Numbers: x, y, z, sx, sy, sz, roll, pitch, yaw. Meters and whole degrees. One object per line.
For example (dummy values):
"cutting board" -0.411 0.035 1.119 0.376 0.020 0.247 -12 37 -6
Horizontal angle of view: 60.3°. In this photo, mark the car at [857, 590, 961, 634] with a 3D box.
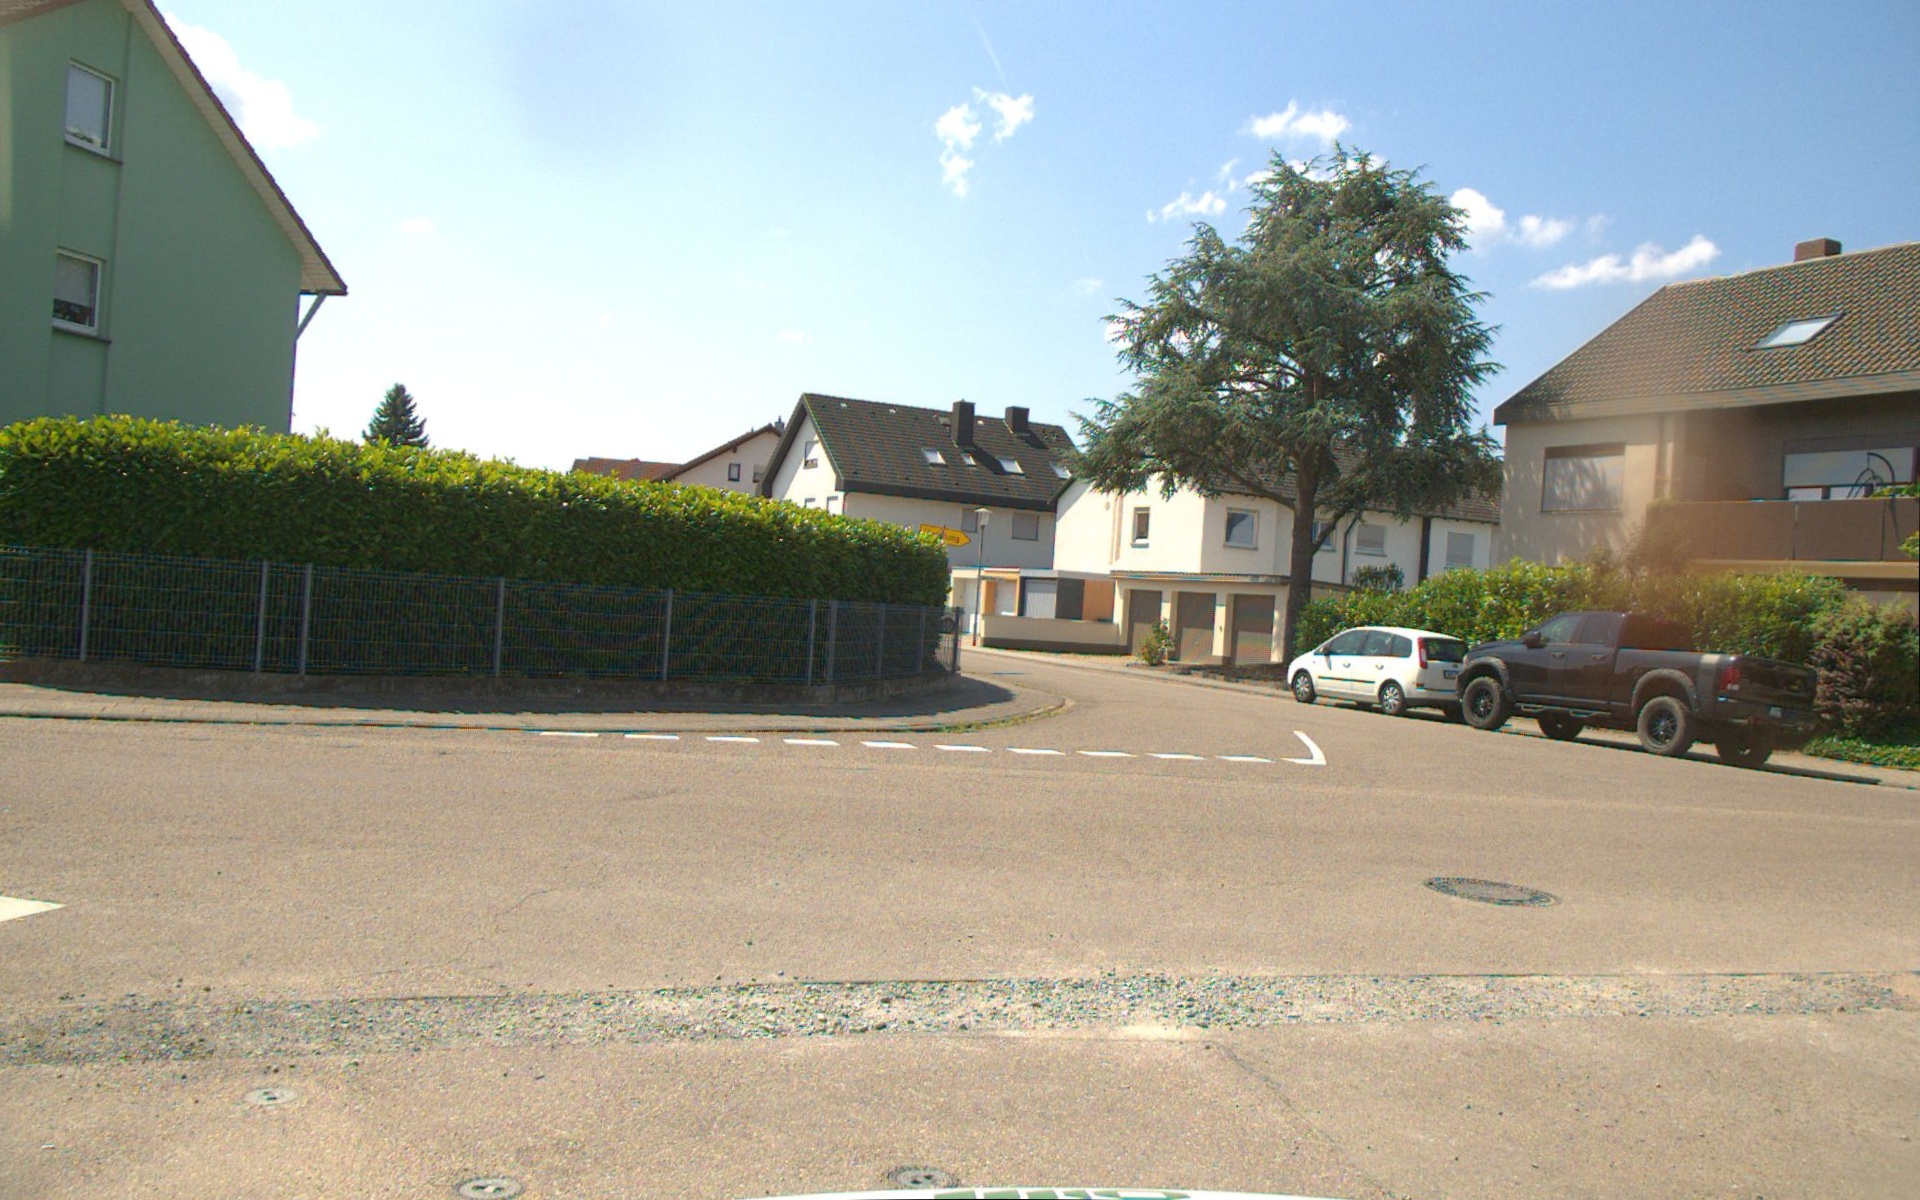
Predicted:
"car" -1.954 0.455 63.838 3.554 1.433 1.770 4 0 -26

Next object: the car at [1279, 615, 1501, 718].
"car" 8.156 1.235 31.706 1.777 1.590 4.107 4 0 -27

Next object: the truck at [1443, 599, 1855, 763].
"truck" 10.476 1.165 25.731 2.337 2.048 5.660 4 0 -28
